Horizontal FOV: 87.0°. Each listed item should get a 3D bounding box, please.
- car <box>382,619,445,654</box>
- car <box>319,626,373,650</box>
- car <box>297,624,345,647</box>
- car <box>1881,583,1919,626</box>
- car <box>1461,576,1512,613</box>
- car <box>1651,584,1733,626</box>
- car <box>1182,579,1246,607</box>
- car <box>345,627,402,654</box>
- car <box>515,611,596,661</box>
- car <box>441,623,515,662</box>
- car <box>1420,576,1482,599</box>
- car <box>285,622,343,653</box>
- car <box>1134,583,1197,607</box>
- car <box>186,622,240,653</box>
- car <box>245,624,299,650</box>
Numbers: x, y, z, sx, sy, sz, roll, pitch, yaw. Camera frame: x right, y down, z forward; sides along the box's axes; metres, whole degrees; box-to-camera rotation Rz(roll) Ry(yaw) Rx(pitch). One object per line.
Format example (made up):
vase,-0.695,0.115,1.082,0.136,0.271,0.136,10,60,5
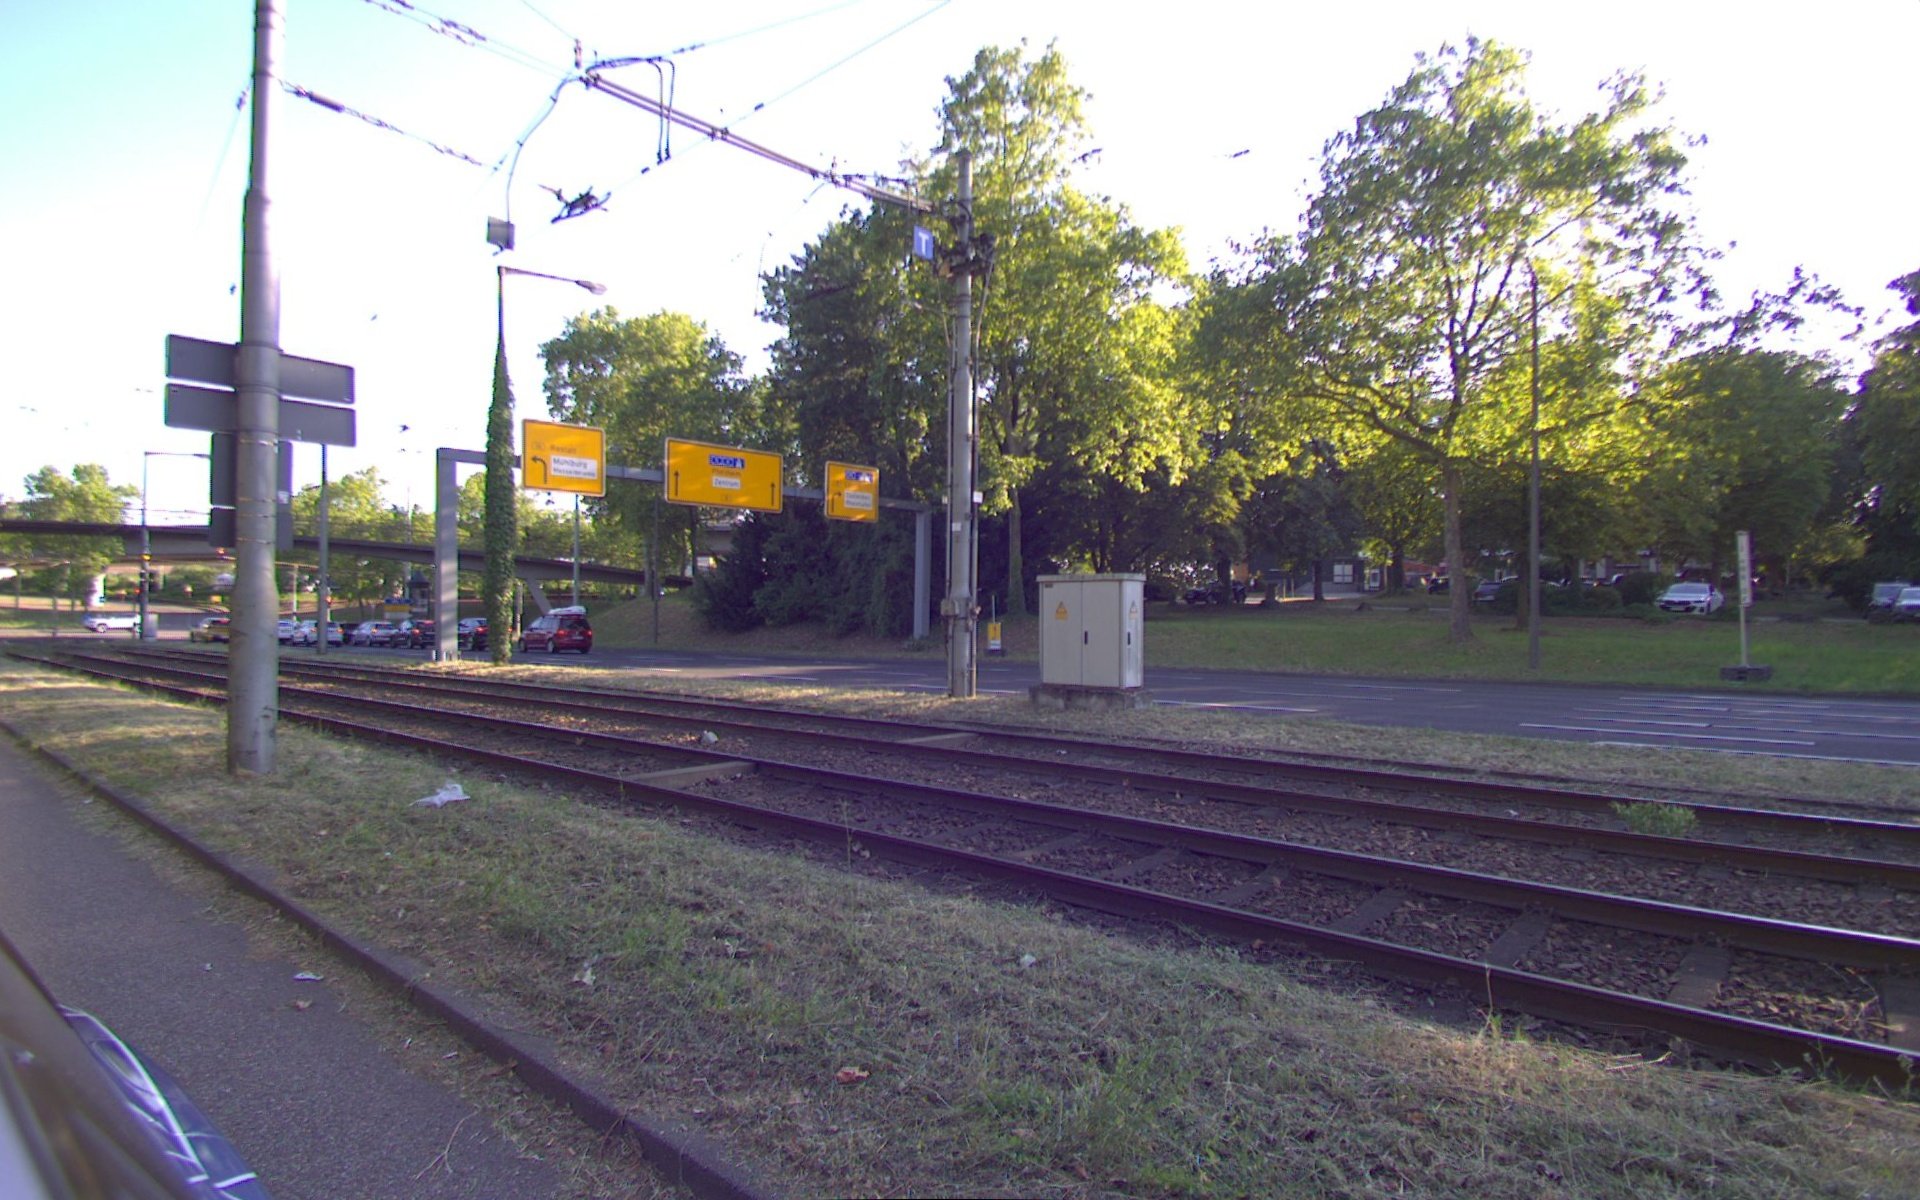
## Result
car,-29.512,1.938,54.615,3.999,1.763,1.773,-1,0,42
car,-39.373,2.401,64.859,4.475,1.393,1.773,-1,0,42
car,-43.254,2.363,68.460,3.999,1.453,1.773,-1,0,42
car,36.964,0.168,39.035,2.043,1.586,4.341,-1,0,42
car,25.737,-0.246,49.413,1.823,1.700,4.178,-1,0,33
car,31.891,0.199,44.038,4.826,1.719,2.002,-1,0,-43
car,15.039,-0.403,59.769,3.939,1.564,1.810,0,-1,-43
car,-34.977,2.403,60.308,3.999,1.492,1.773,-1,0,42
car,-17.987,1.559,44.934,3.999,2.121,1.773,-1,0,42
car,-23.632,2.031,49.565,4.240,1.763,1.773,-1,0,42
car,35.596,-0.879,73.519,3.976,1.564,1.793,-1,0,24
car,-35.804,2.059,56.027,4.189,1.577,1.645,-1,0,42
car,13.686,-0.342,67.263,3.933,1.564,1.812,-1,-1,-34
car,-40.809,2.029,55.263,3.999,1.577,1.645,-1,0,42
car,-41.138,2.217,60.472,4.412,1.443,1.722,-1,-3,44
